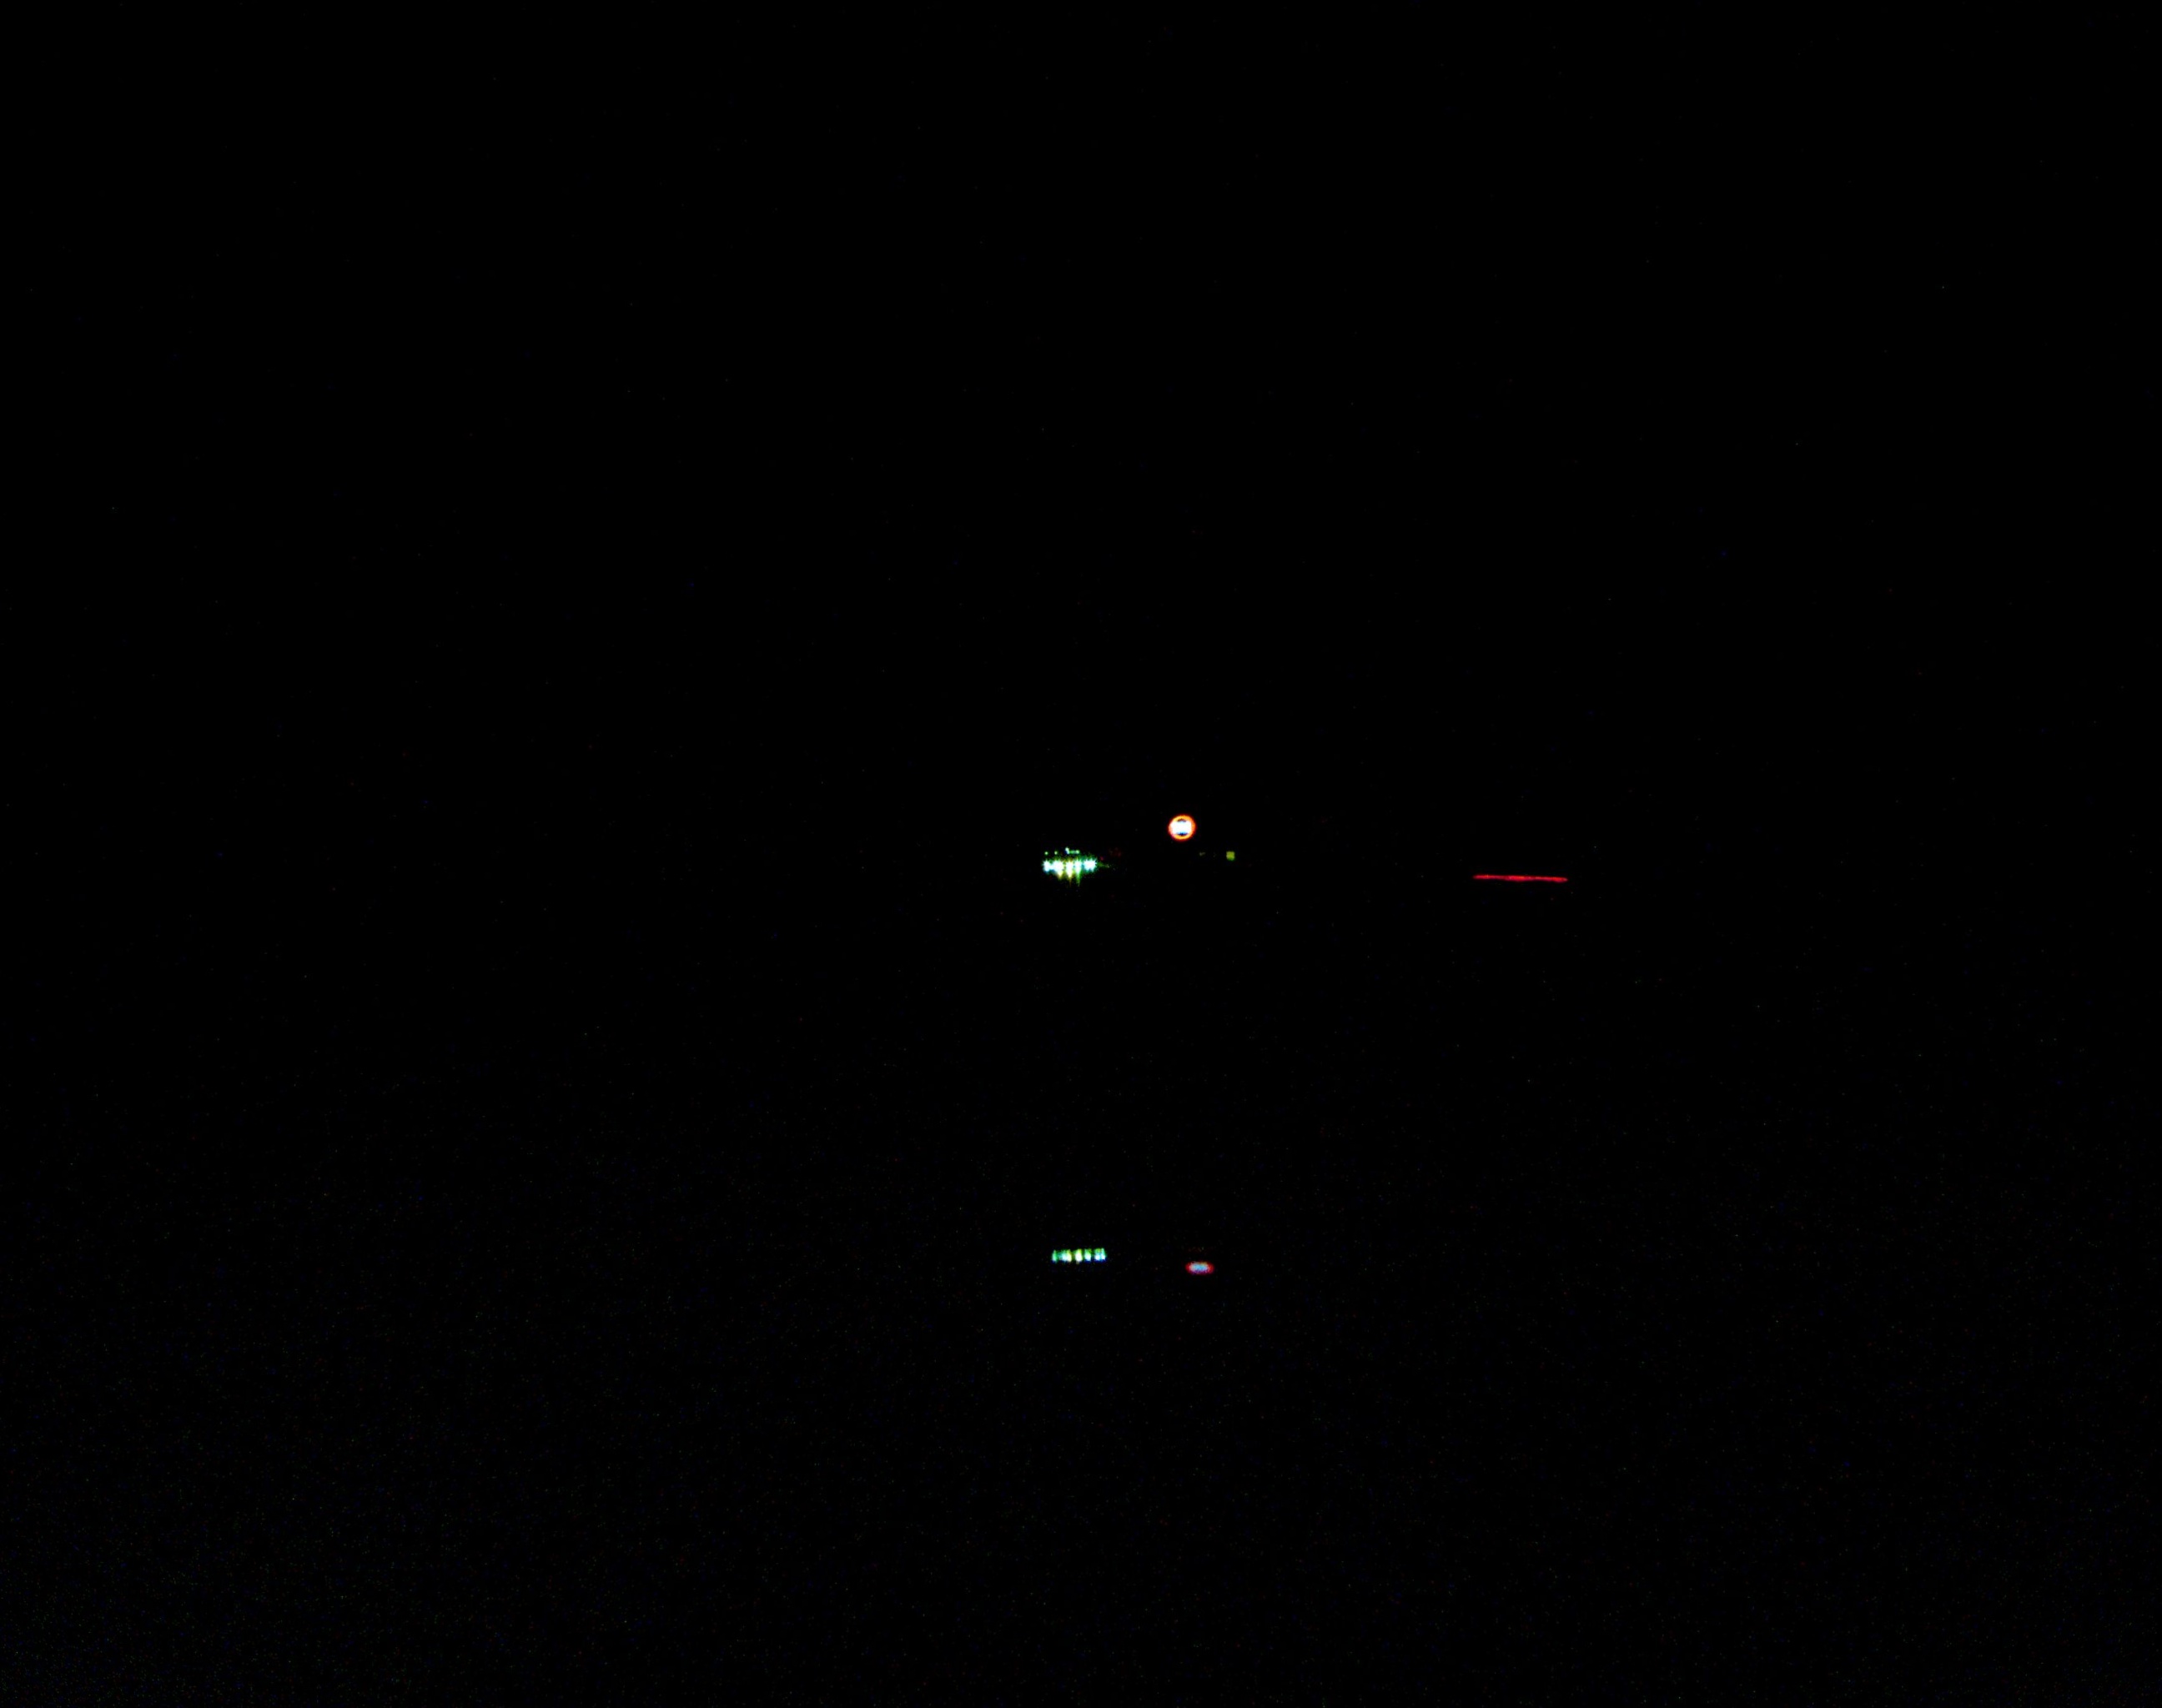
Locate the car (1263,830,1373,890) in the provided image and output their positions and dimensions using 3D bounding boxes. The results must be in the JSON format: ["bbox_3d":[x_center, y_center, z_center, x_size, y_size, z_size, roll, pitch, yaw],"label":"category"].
[{"bbox_3d":[9.106,0.266,29.992,2.214,2.001,6.945,-3,-1,1],"label":"car"}]

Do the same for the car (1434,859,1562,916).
[{"bbox_3d":[14.428,1.128,26.653,1.904,1.750,4.500,-3,-1,-1],"label":"car"}]

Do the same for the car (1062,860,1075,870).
[{"bbox_3d":[-1.761,1.635,109.973,1.701,1.378,3.502,-3,-1,1],"label":"car"}]

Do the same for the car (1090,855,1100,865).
[{"bbox_3d":[4.157,1.851,229.995,2.859,2.795,5.942,-3,-1,2],"label":"car"}]

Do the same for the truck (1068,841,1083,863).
[{"bbox_3d":[-1.123,-0.385,158.577,2.668,4.181,6.725,-3,-1,2],"label":"truck"}]

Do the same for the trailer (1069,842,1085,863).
[{"bbox_3d":[-0.849,-0.256,165.174,2.749,4.181,13.515,-3,-1,2],"label":"trailer"}]

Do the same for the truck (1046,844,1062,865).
[{"bbox_3d":[-5.503,0.209,158.245,2.597,4.048,7.676,-3,-1,2],"label":"truck"}]
